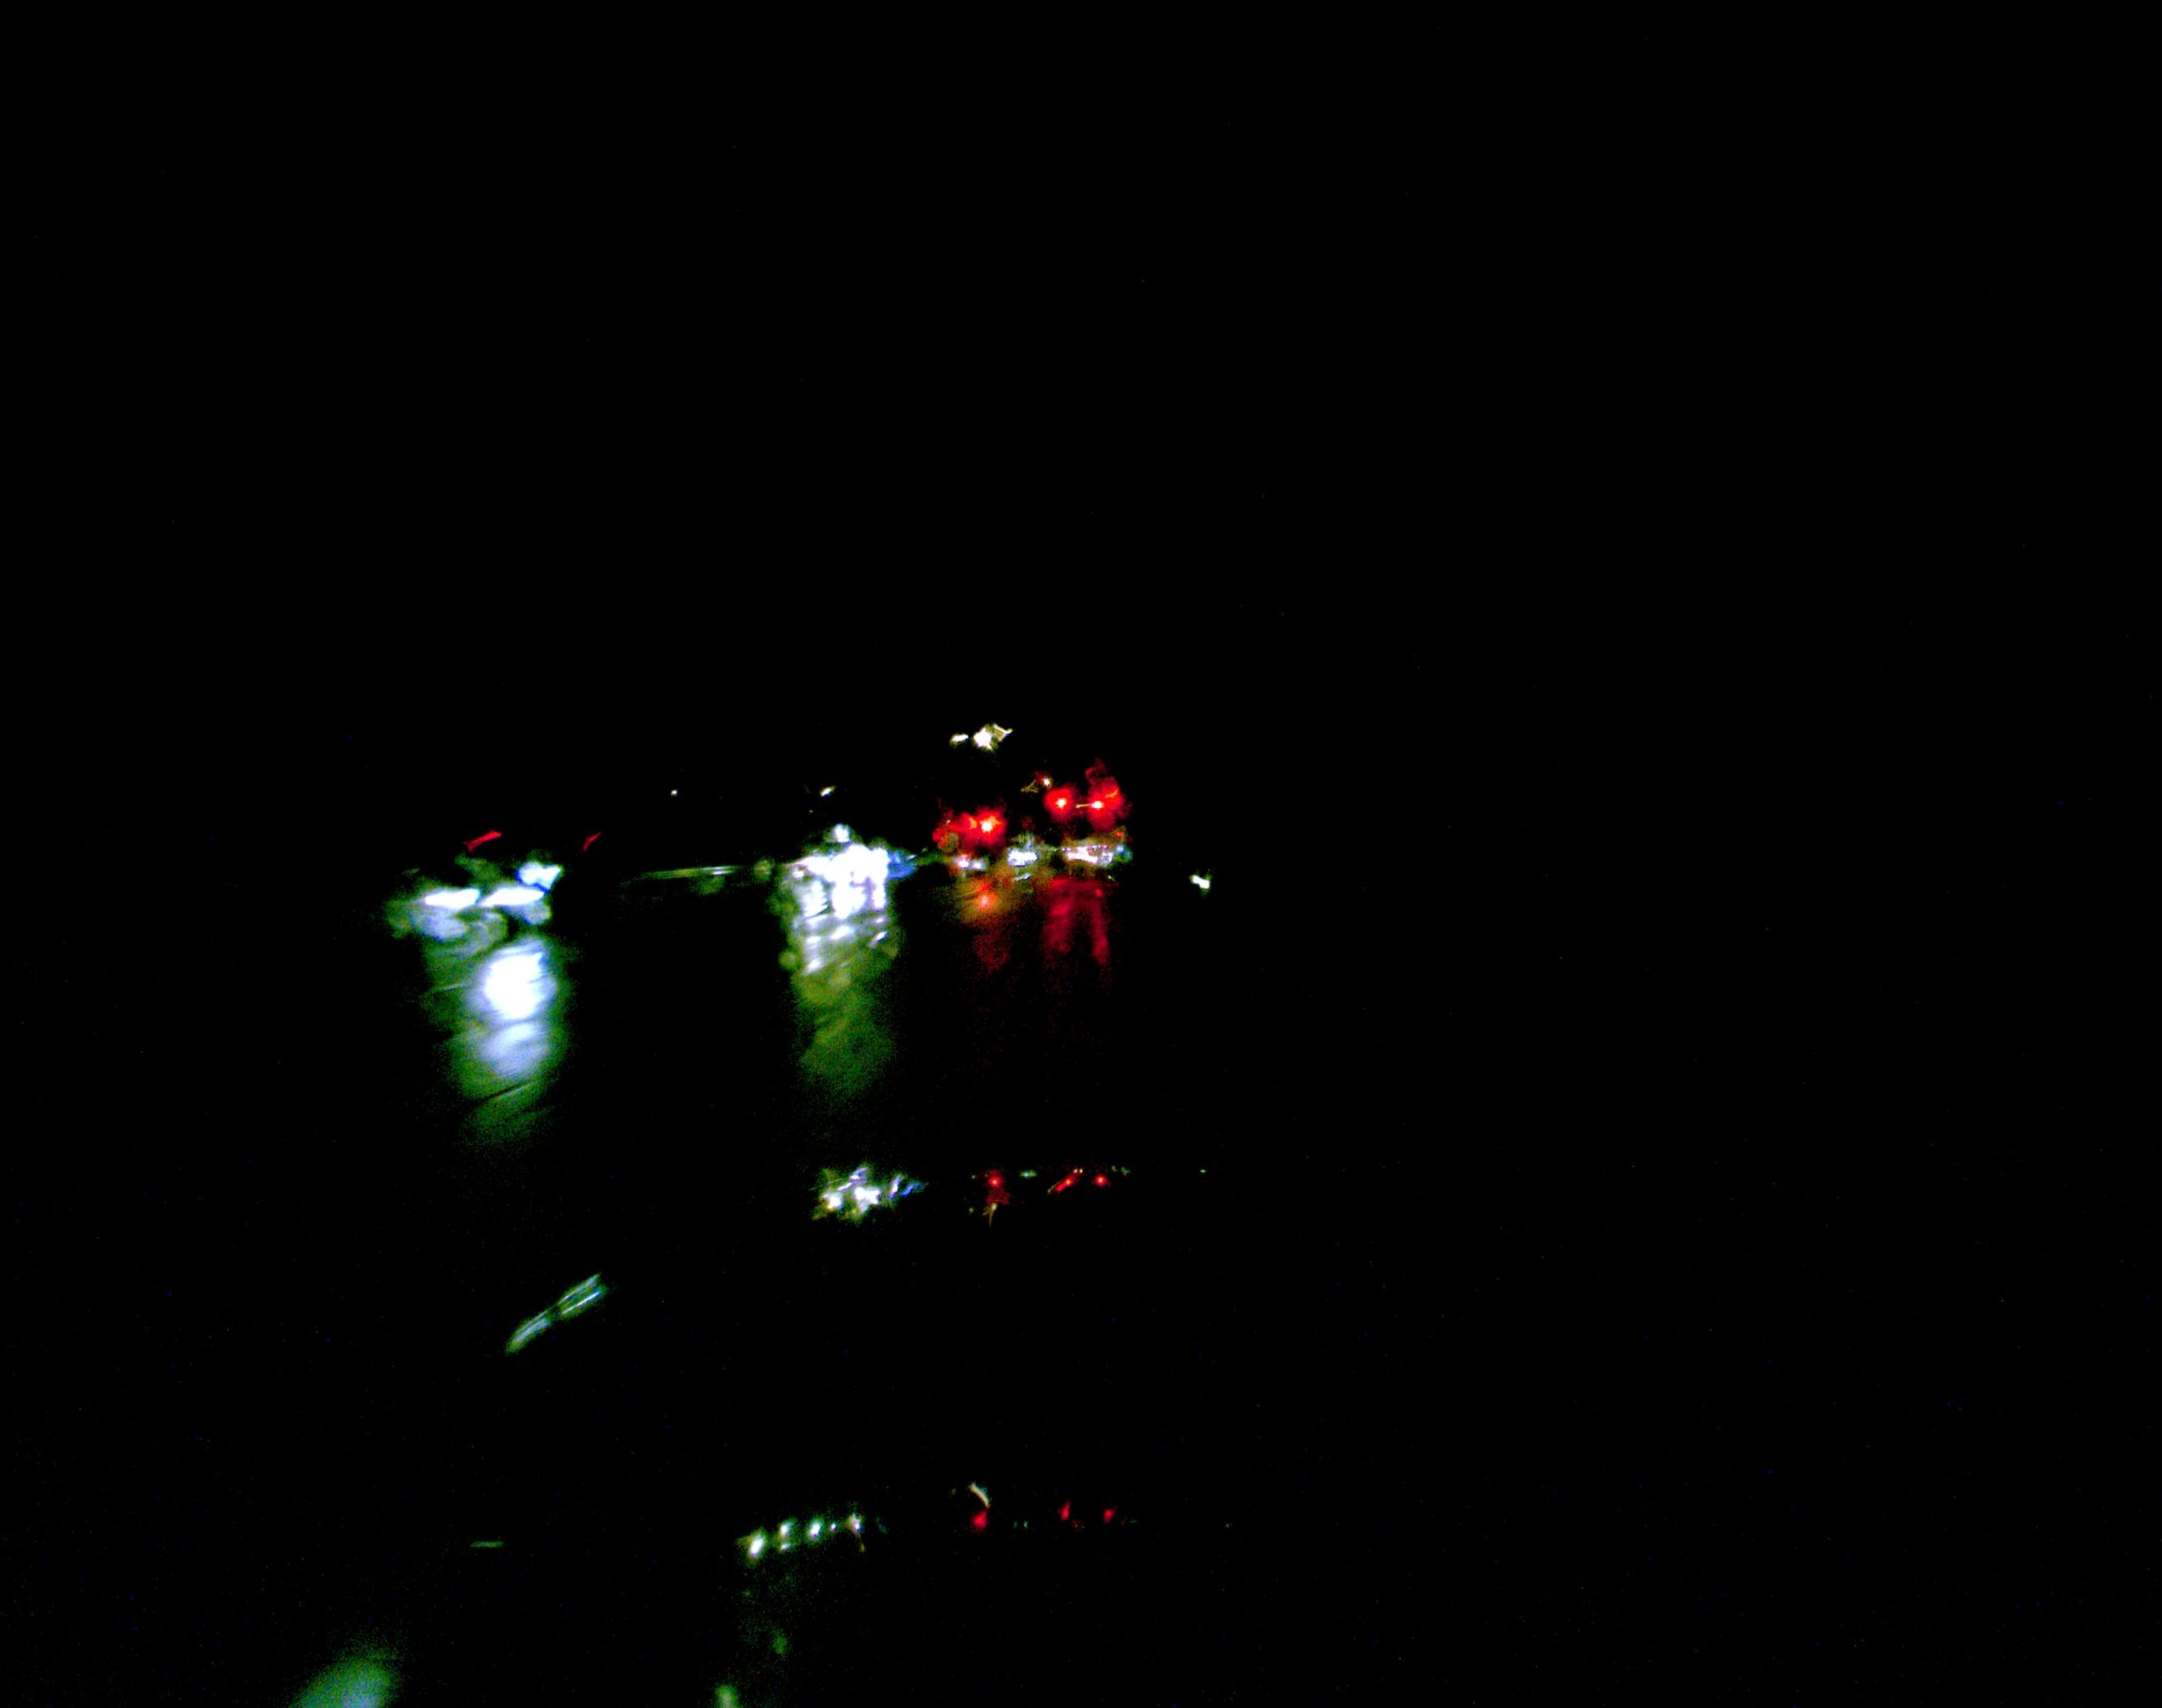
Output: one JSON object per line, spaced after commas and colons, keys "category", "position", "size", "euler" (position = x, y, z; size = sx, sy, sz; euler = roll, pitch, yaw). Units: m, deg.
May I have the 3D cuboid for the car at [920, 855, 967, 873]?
{"category": "car", "position": [-12.986, 0.920, 77.230], "size": [3.966, 1.662, 2.004], "euler": [0, 0, 6]}

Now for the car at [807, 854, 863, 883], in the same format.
{"category": "car", "position": [-13.020, 0.738, 43.387], "size": [1.871, 1.397, 4.245], "euler": [-1, 0, -3]}

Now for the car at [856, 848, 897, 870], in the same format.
{"category": "car", "position": [-14.840, 0.372, 59.405], "size": [1.988, 1.507, 4.552], "euler": [0, 0, -2]}

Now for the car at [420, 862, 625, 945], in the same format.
{"category": "car", "position": [-11.788, 0.968, 17.552], "size": [1.786, 1.441, 3.853], "euler": [-3, 0, -2]}
